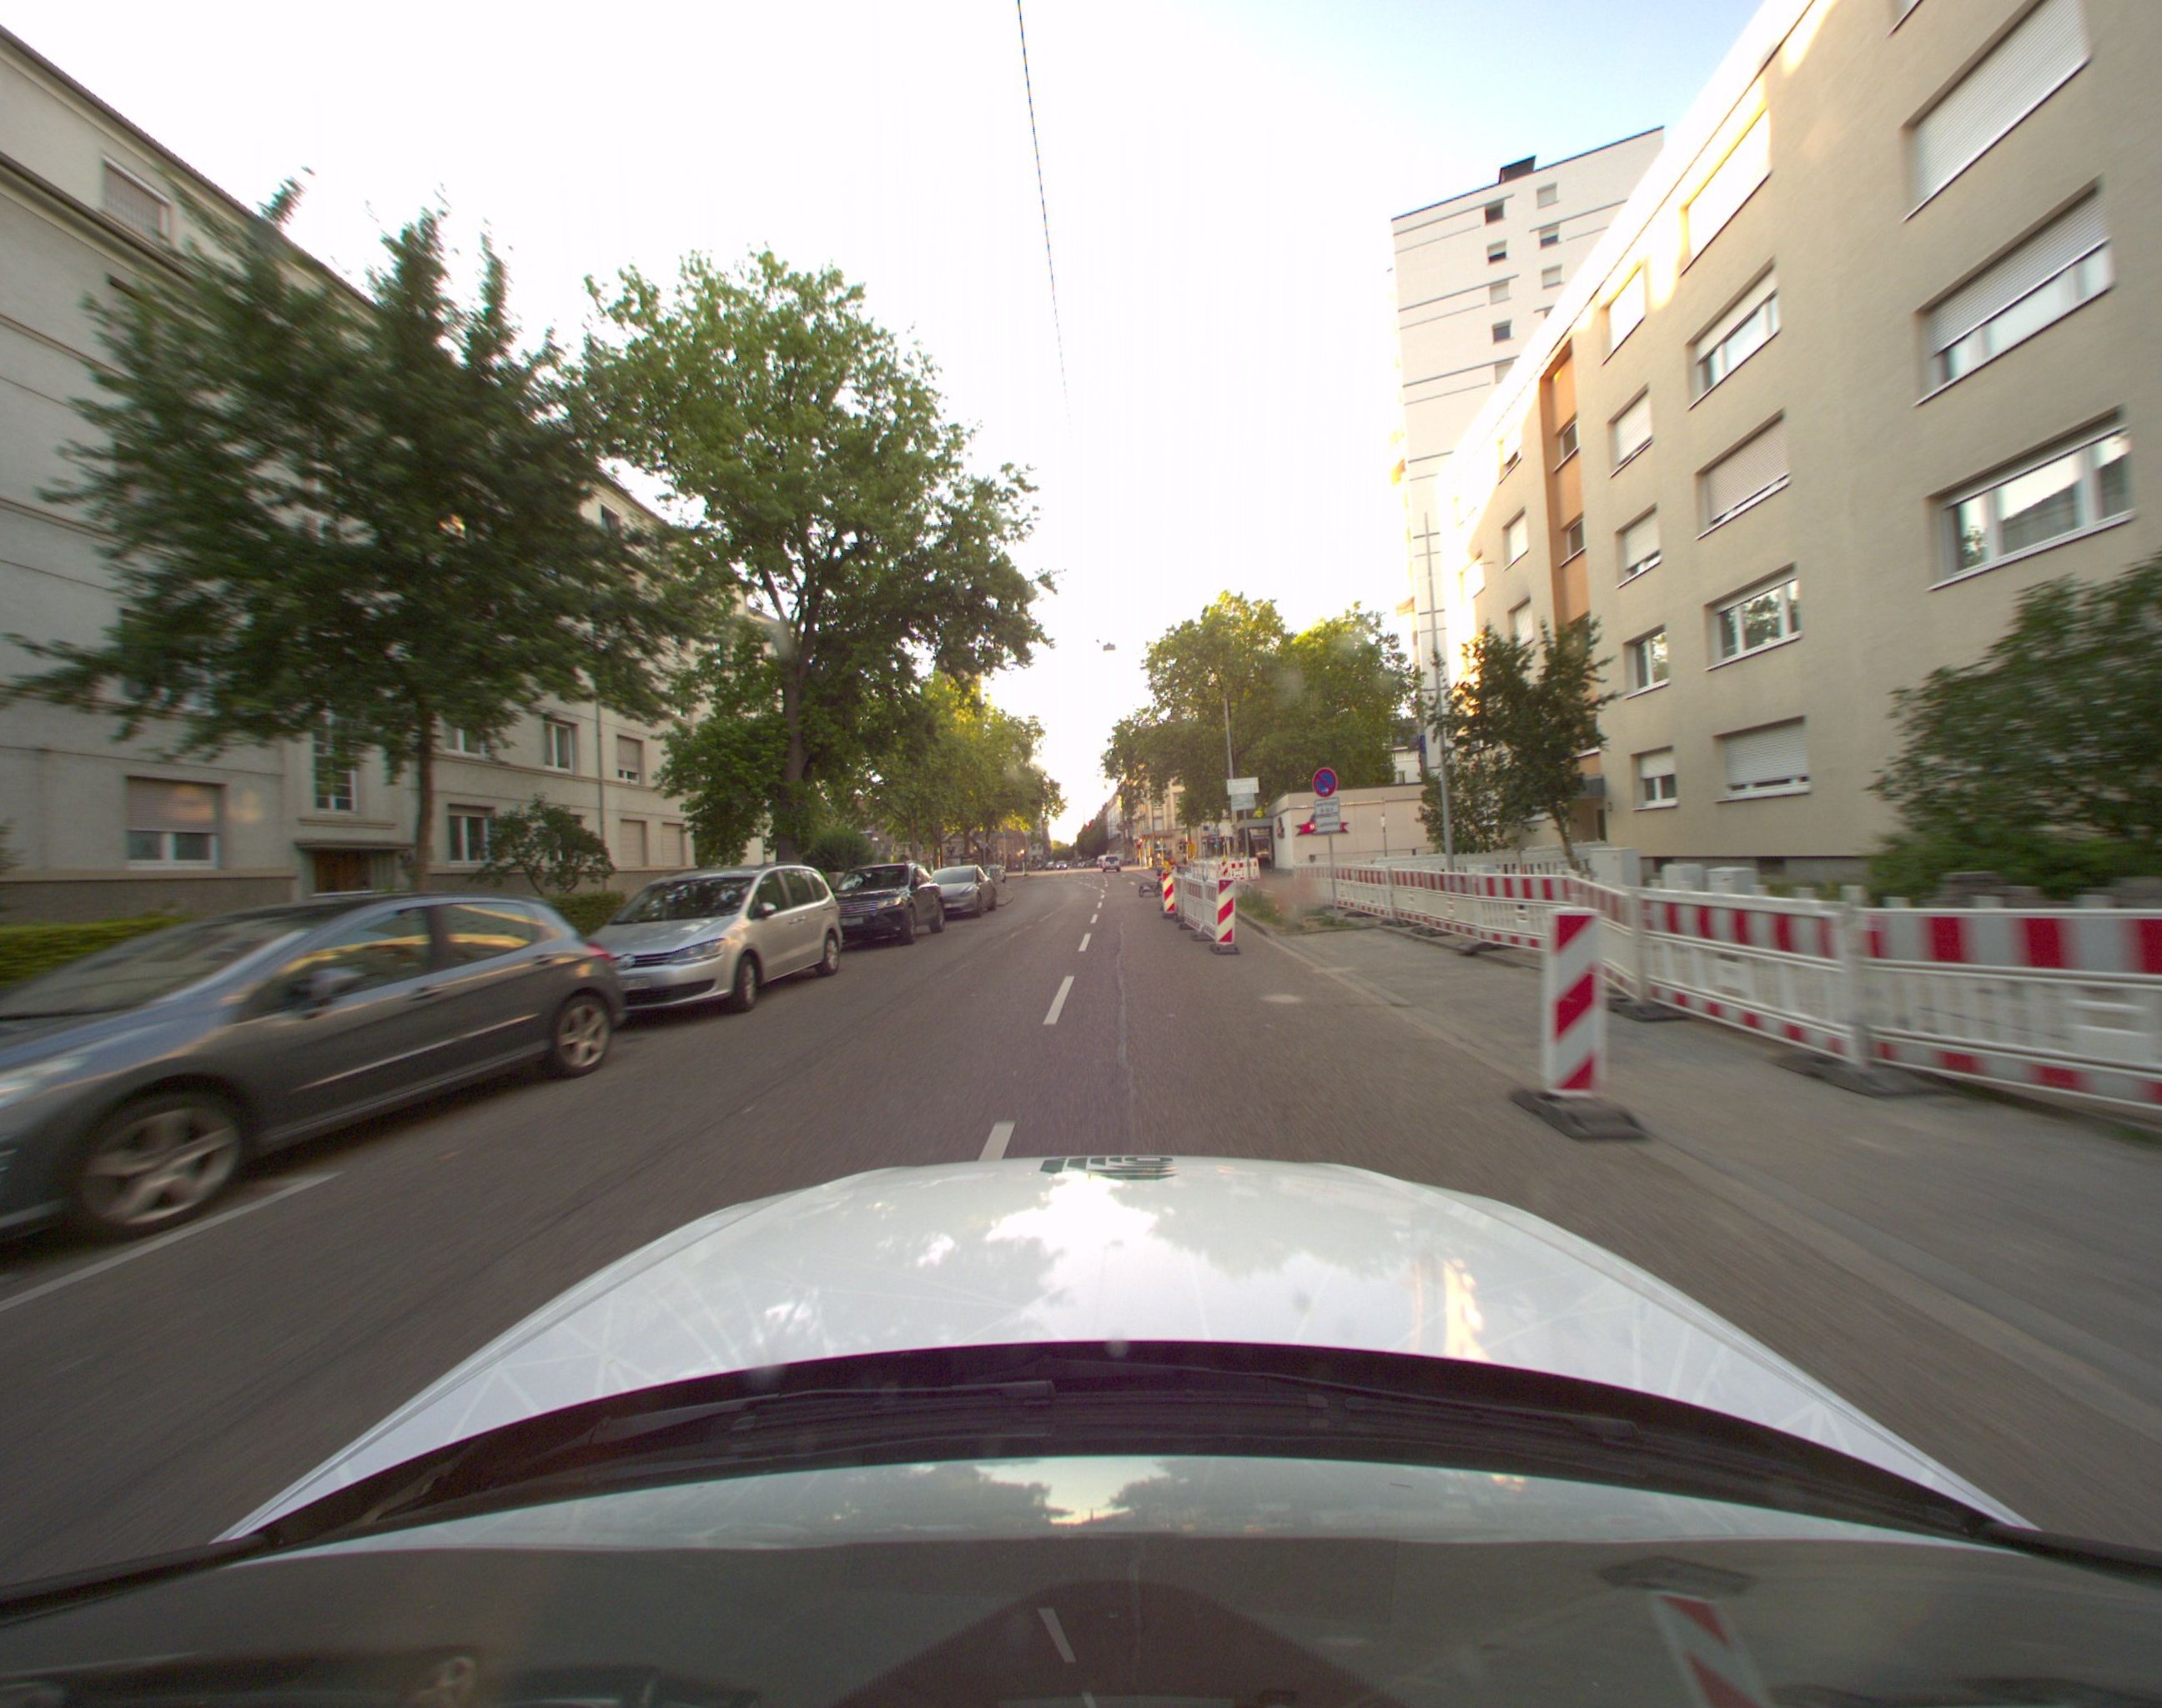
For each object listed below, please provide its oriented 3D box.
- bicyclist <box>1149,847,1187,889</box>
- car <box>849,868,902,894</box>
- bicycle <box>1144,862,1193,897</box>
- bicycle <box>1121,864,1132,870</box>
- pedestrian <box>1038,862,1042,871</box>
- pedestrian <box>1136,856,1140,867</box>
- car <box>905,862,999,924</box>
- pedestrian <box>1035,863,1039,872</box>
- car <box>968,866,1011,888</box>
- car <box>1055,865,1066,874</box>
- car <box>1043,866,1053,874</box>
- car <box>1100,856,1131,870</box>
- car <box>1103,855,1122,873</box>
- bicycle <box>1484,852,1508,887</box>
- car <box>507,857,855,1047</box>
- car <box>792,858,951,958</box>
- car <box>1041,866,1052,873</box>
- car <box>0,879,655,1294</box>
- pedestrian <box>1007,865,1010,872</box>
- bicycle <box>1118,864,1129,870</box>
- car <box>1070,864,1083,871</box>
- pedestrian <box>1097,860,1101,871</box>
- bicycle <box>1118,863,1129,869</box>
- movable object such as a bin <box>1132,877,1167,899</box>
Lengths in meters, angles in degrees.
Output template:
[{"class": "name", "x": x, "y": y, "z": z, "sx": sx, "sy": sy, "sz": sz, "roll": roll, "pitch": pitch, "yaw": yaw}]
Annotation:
[{"class": "bicyclist", "x": 3.525, "y": 0.549, "z": 32.943, "sx": 0.930, "sy": 1.581, "sz": 1.154, "roll": -7, "pitch": -2, "yaw": 32}, {"class": "car", "x": -16.984, "y": 2.189, "z": 67.466, "sx": 1.803, "sy": 1.800, "sz": 4.656, "roll": -4, "pitch": 0, "yaw": 22}, {"class": "bicycle", "x": 3.561, "y": 1.009, "z": 32.919, "sx": 0.930, "sy": 1.172, "sz": 2.374, "roll": -7, "pitch": -2, "yaw": 32}, {"class": "bicycle", "x": 8.122, "y": 2.266, "z": 146.161, "sx": 1.900, "sy": 0.968, "sz": 0.548, "roll": -3, "pitch": -1, "yaw": 16}, {"class": "pedestrian", "x": -8.698, "y": 2.726, "z": 172.927, "sx": 0.589, "sy": 1.886, "sz": 0.555, "roll": -3, "pitch": -1, "yaw": 11}, {"class": "pedestrian", "x": 9.689, "y": 1.226, "z": 137.442, "sx": 0.590, "sy": 1.886, "sz": 0.648, "roll": -3, "pitch": -1, "yaw": 4}, {"class": "car", "x": -3.939, "y": 1.154, "z": 25.731, "sx": 1.946, "sy": 1.616, "sz": 4.607, "roll": -5, "pitch": -1, "yaw": 2}, {"class": "pedestrian", "x": -9.350, "y": 2.771, "z": 172.985, "sx": 0.589, "sy": 1.886, "sz": 0.587, "roll": -3, "pitch": -1, "yaw": 11}, {"class": "car", "x": -7.081, "y": 1.744, "z": 63.269, "sx": 1.979, "sy": 1.519, "sz": 4.015, "roll": -3, "pitch": -1, "yaw": 14}, {"class": "car", "x": -4.006, "y": 2.980, "z": 156.524, "sx": 1.779, "sy": 1.651, "sz": 3.814, "roll": -2, "pitch": -1, "yaw": -5}, {"class": "car", "x": -7.536, "y": 3.681, "z": 186.242, "sx": 1.991, "sy": 1.651, "sz": 3.814, "roll": -2, "pitch": -1, "yaw": -5}, {"class": "car", "x": 6.428, "y": 1.596, "z": 151.686, "sx": 5.854, "sy": 2.288, "sz": 2.048, "roll": -3, "pitch": -1, "yaw": -41}, {"class": "car", "x": 3.415, "y": 1.098, "z": 89.312, "sx": 1.859, "sy": 1.815, "sz": 4.001, "roll": -4, "pitch": -1, "yaw": 1}, {"class": "bicycle", "x": 12.603, "y": 0.465, "z": 24.753, "sx": 0.539, "sy": 0.968, "sz": 1.825, "roll": -4, "pitch": -1, "yaw": 26}, {"class": "car", "x": -4.579, "y": 0.988, "z": 10.383, "sx": 1.840, "sy": 1.691, "sz": 4.859, "roll": -5, "pitch": -1, "yaw": 1}, {"class": "car", "x": -4.336, "y": 1.054, "z": 17.770, "sx": 1.946, "sy": 1.719, "sz": 4.773, "roll": -5, "pitch": -1, "yaw": 2}, {"class": "car", "x": -7.581, "y": 3.396, "z": 178.471, "sx": 1.991, "sy": 1.651, "sz": 3.814, "roll": -2, "pitch": -1, "yaw": -5}, {"class": "car", "x": -4.881, "y": 1.041, "z": 5.057, "sx": 1.723, "sy": 1.497, "sz": 4.278, "roll": -5, "pitch": -1, "yaw": 7}, {"class": "pedestrian", "x": -14.053, "y": 2.762, "z": 157.517, "sx": 0.499, "sy": 1.280, "sz": 0.489, "roll": -3, "pitch": -1, "yaw": -22}, {"class": "bicycle", "x": 7.619, "y": 2.267, "z": 145.390, "sx": 1.908, "sy": 0.968, "sz": 0.546, "roll": -3, "pitch": -1, "yaw": 0}, {"class": "car", "x": -1.506, "y": 4.339, "z": 259.255, "sx": 3.979, "sy": 1.816, "sz": 1.997, "roll": -3, "pitch": -1, "yaw": -4}, {"class": "pedestrian", "x": 3.048, "y": 1.980, "z": 138.957, "sx": 0.590, "sy": 1.886, "sz": 0.648, "roll": -3, "pitch": -1, "yaw": 4}, {"class": "bicycle", "x": 7.574, "y": 2.150, "z": 145.113, "sx": 1.908, "sy": 0.968, "sz": 0.546, "roll": -3, "pitch": -1, "yaw": 0}, {"class": "movable object such as a bin", "x": 2.646, "y": 1.312, "z": 31.515, "sx": 0.930, "sy": 0.689, "sz": 1.000, "roll": -7, "pitch": -2, "yaw": 32}]
